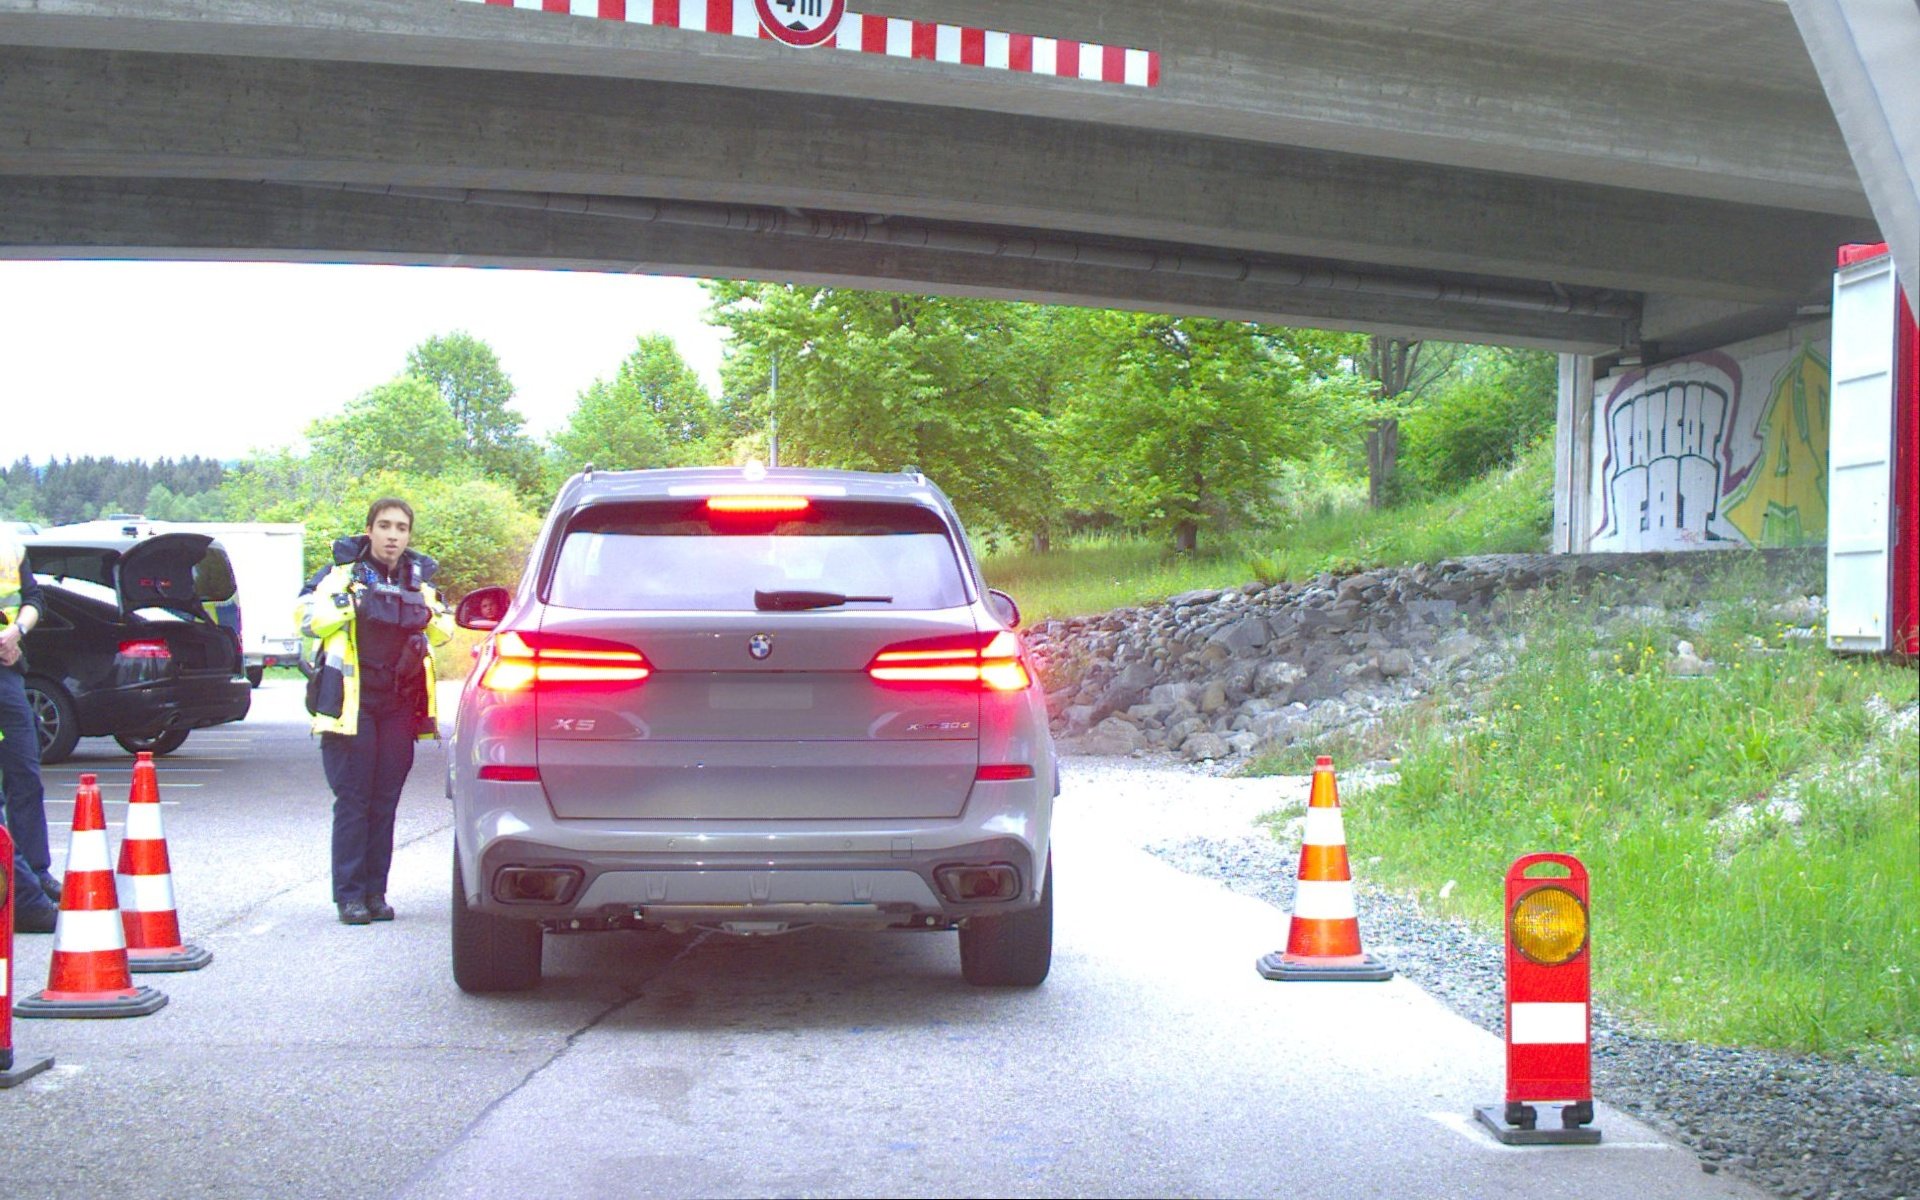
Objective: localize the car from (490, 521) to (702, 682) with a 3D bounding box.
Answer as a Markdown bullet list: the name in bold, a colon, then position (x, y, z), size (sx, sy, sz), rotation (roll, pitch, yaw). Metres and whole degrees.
- **car**: position (-5.596, -0.013, 52.392), size (1.993, 2.338, 4.001), rotation (-1, 1, -25)

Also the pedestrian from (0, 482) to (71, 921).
- **pedestrian**: position (-4.043, 0.404, 14.053), size (0.609, 1.748, 0.666), rotation (-1, 1, 1)

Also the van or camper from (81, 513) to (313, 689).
- **van or camper**: position (-11.972, -0.025, 53.540), size (2.229, 2.543, 6.612), rotation (-1, 1, -24)

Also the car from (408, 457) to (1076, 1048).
- **car**: position (-0.741, 0.428, 12.392), size (1.993, 1.759, 4.001), rotation (-1, 1, -2)

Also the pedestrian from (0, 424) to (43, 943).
- **pedestrian**: position (-3.918, 0.308, 13.014), size (0.749, 1.912, 0.763), rotation (-1, 1, -8)

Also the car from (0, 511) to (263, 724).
- **car**: position (-9.479, 0.159, 33.826), size (4.809, 2.007, 1.840), rotation (0, 1, 14)

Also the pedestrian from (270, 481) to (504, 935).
- **pedestrian**: position (-2.262, 0.402, 13.522), size (0.779, 1.716, 0.757), rotation (-1, 1, -18)

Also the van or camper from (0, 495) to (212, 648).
- **van or camper**: position (-14.963, -0.513, 59.134), size (2.104, 2.510, 5.550), rotation (-1, 1, -35)
